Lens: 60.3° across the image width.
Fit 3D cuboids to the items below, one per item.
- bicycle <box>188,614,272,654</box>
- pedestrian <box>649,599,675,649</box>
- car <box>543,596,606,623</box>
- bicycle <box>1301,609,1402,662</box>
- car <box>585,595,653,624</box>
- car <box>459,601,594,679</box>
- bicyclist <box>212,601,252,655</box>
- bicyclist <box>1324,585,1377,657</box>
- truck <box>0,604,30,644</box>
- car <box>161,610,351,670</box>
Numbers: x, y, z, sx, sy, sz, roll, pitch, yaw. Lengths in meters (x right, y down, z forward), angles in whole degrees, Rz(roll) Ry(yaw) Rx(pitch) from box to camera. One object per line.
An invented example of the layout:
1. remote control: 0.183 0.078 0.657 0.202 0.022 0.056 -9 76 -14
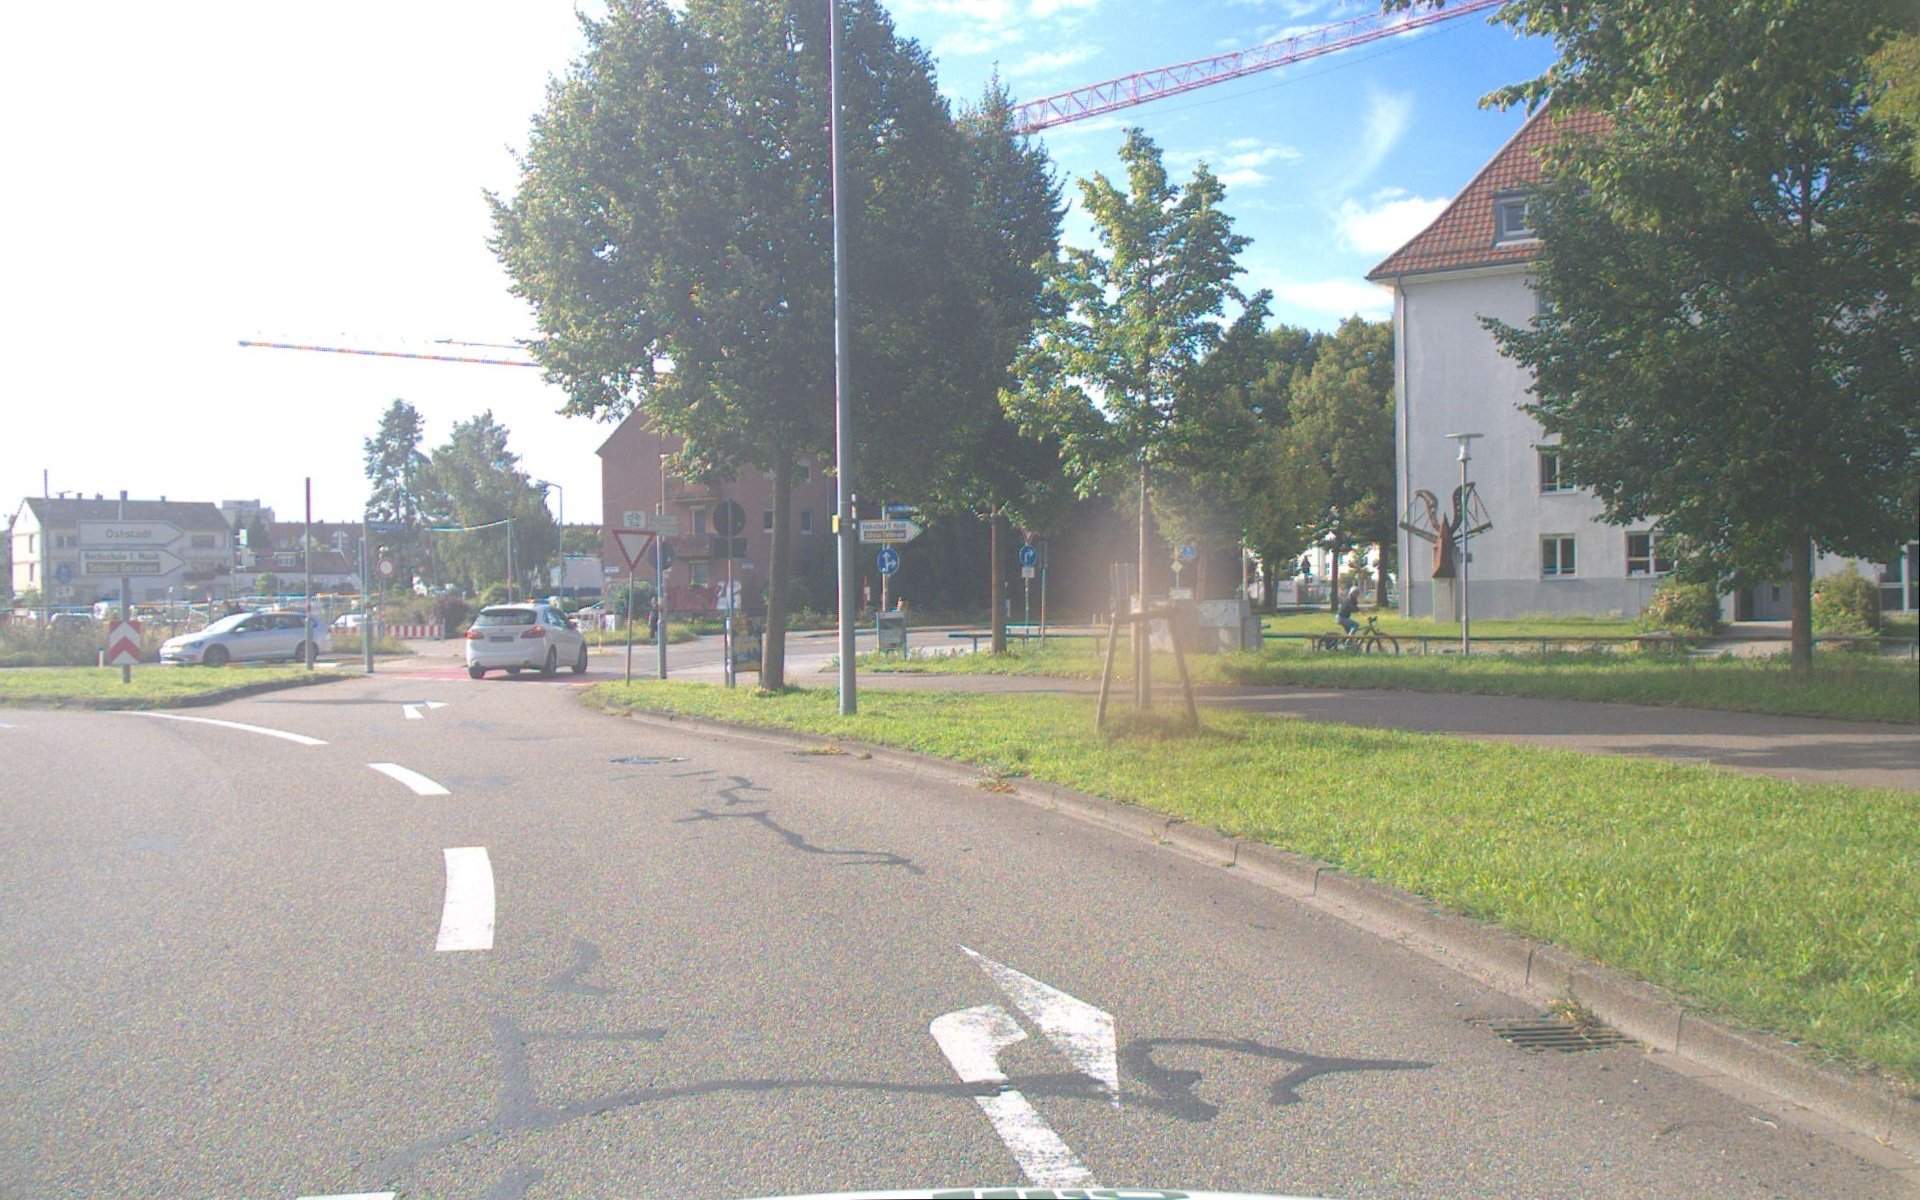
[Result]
1. bicycle: -21.227 0.974 48.128 2.172 1.081 0.698 -2 0 -28
2. pedestrian: -11.336 0.905 62.872 0.653 1.903 0.836 -1 0 12
3. car: -24.946 0.580 107.038 3.921 1.646 1.766 -1 0 -16
4. bicycle: 8.891 0.788 37.572 2.108 1.157 0.769 0 0 38
5. car: -21.009 0.586 102.034 3.909 1.646 1.771 -1 0 -5
6. car: -9.512 0.829 36.609 1.812 1.600 4.455 0 0 0
7. bicyclist: -21.213 0.810 48.171 0.995 1.538 0.699 -2 0 -27
8. bicyclist: 8.881 0.465 37.574 0.941 1.602 0.769 0 0 37
9. truck: -58.914 1.501 101.192 5.542 2.369 2.050 -1 0 44
10. car: -19.204 1.065 45.263 1.787 1.478 4.525 -1 0 36
